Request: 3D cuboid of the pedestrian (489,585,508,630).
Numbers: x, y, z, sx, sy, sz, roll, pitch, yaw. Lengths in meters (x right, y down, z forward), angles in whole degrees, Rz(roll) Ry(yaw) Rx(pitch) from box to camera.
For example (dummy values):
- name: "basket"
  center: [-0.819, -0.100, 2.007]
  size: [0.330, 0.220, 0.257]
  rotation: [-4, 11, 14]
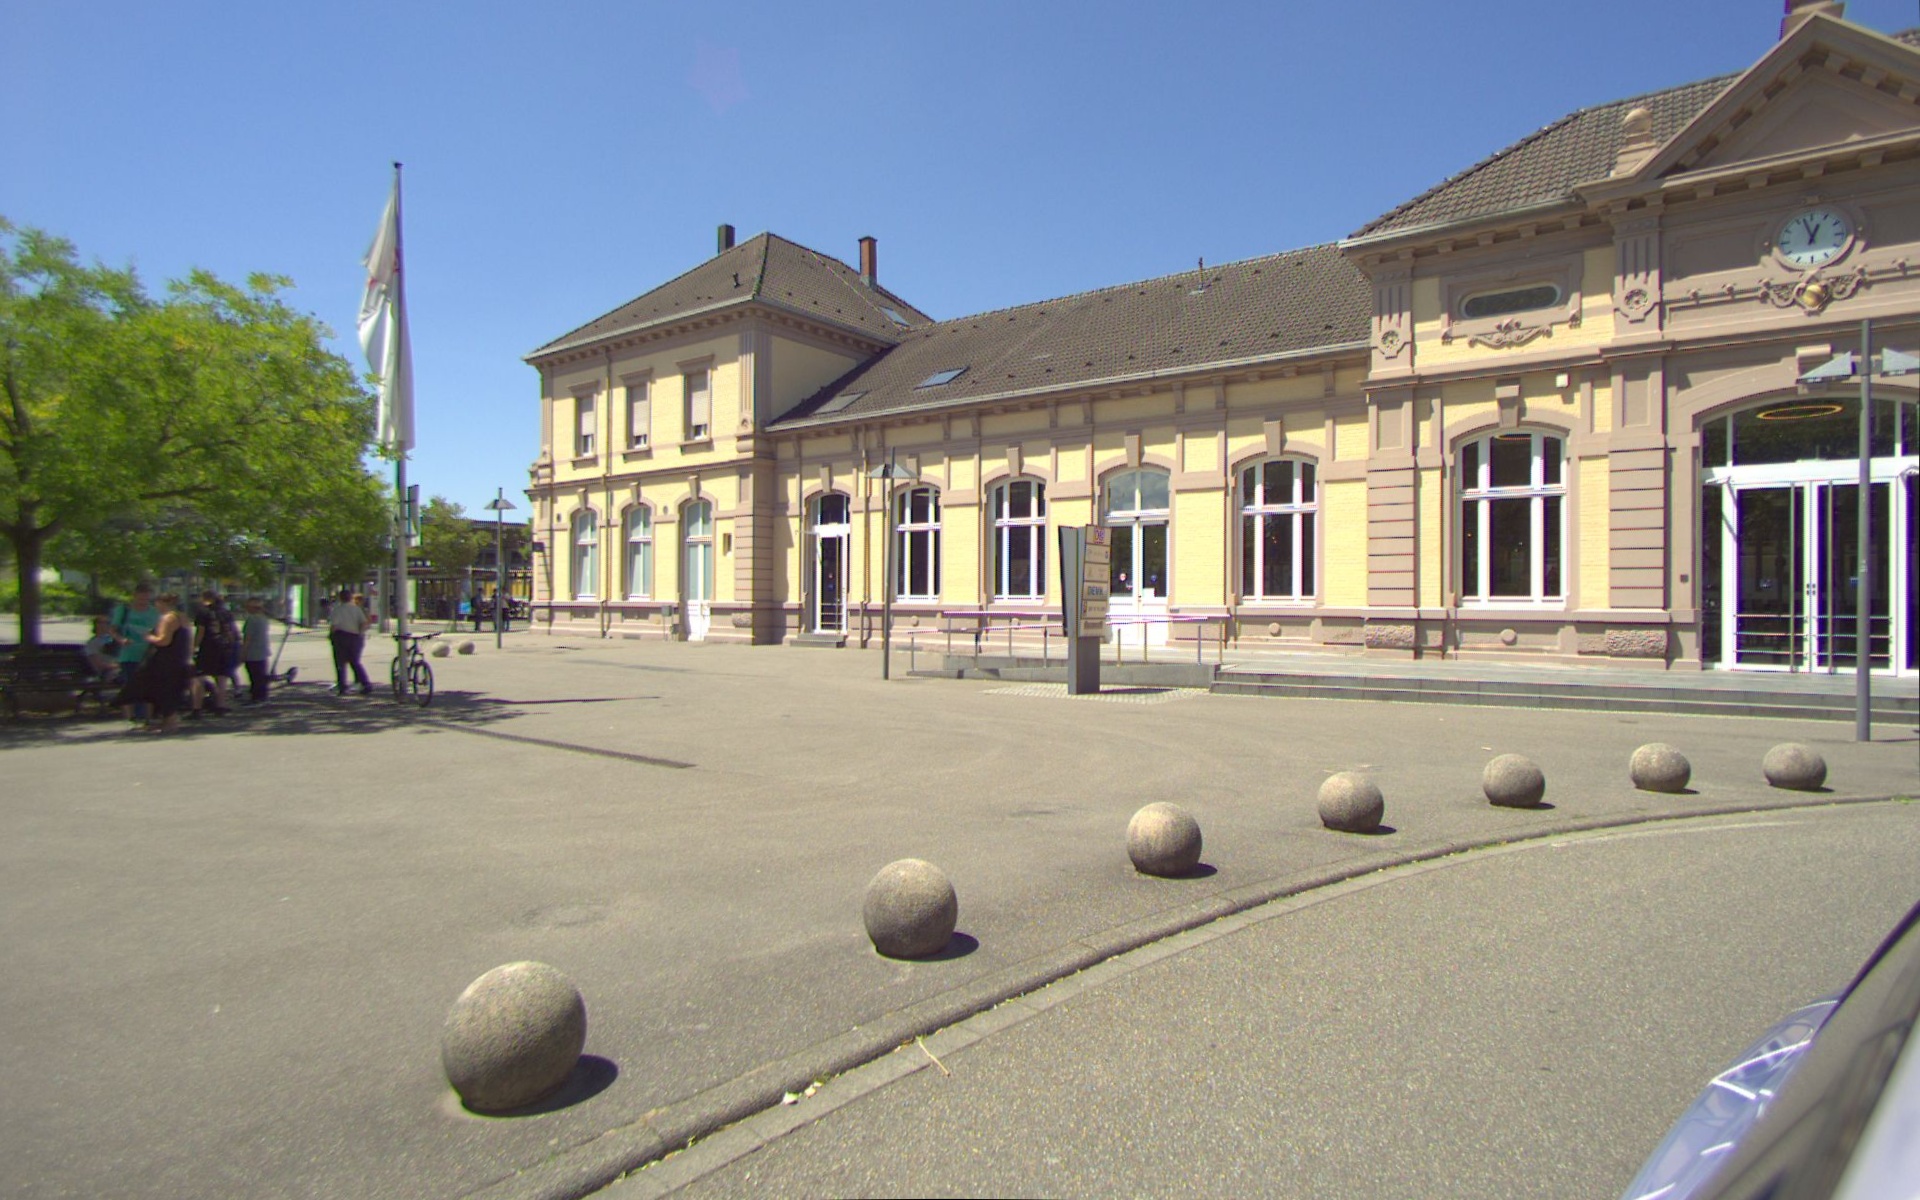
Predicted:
- name: "pedestrian"
  center: [-19.063, 0.297, 41.765]
  size: [0.619, 1.832, 0.596]
  rotation: [1, 0, -32]

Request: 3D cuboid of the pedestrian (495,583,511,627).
- name: "pedestrian"
  center: [-19.160, 0.217, 42.413]
  size: [0.540, 1.832, 0.498]
  rotation: [1, 0, -32]

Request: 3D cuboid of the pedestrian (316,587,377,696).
- name: "pedestrian"
  center: [-9.821, 0.643, 16.209]
  size: [0.585, 1.706, 0.614]
  rotation: [0, -1, 25]

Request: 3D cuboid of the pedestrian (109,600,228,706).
- name: "pedestrian"
  center: [-10.951, 0.711, 14.030]
  size: [0.928, 1.404, 0.911]
  rotation: [0, 0, 7]

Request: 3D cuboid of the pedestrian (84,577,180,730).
- name: "pedestrian"
  center: [-9.982, 0.622, 12.214]
  size: [0.578, 1.786, 0.689]
  rotation: [0, 0, 19]

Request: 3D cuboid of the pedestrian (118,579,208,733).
- name: "pedestrian"
  center: [-9.412, 0.644, 11.970]
  size: [0.539, 1.762, 0.625]
  rotation: [0, 0, 12]

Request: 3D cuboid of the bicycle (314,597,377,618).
- name: "bicycle"
  center: [-33.070, 0.422, 54.511]
  size: [0.806, 1.017, 2.760]
  rotation: [-1, -3, 35]

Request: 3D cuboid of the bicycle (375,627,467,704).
- name: "bicycle"
  center: [-8.241, 0.974, 15.443]
  size: [1.936, 1.073, 0.416]
  rotation: [0, -1, 36]

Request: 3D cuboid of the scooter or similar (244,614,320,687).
- name: "scooter or similar"
  center: [-11.275, 0.824, 16.846]
  size: [0.292, 1.154, 1.017]
  rotation: [0, -1, 29]

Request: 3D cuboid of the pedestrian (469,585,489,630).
- name: "pedestrian"
  center: [-19.792, 0.307, 41.648]
  size: [0.677, 1.832, 0.632]
  rotation: [1, 0, -31]

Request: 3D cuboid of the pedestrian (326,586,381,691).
- name: "pedestrian"
  center: [-10.138, 0.627, 16.927]
  size: [0.581, 1.706, 0.550]
  rotation: [0, -1, 25]

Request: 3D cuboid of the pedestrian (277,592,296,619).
- name: "pedestrian"
  center: [-34.974, 0.282, 52.542]
  size: [0.672, 1.412, 0.619]
  rotation: [-1, 0, 37]

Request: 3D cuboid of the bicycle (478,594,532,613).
- name: "bicycle"
  center: [-26.512, 0.201, 59.019]
  size: [0.960, 1.017, 2.760]
  rotation: [-1, -3, 35]

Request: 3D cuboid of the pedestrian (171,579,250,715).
- name: "pedestrian"
  center: [-9.970, 0.611, 13.476]
  size: [0.590, 1.762, 0.583]
  rotation: [0, 0, 12]

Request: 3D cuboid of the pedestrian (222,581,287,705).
- name: "pedestrian"
  center: [-10.226, 0.605, 14.674]
  size: [0.561, 1.762, 0.511]
  rotation: [0, -1, 8]
